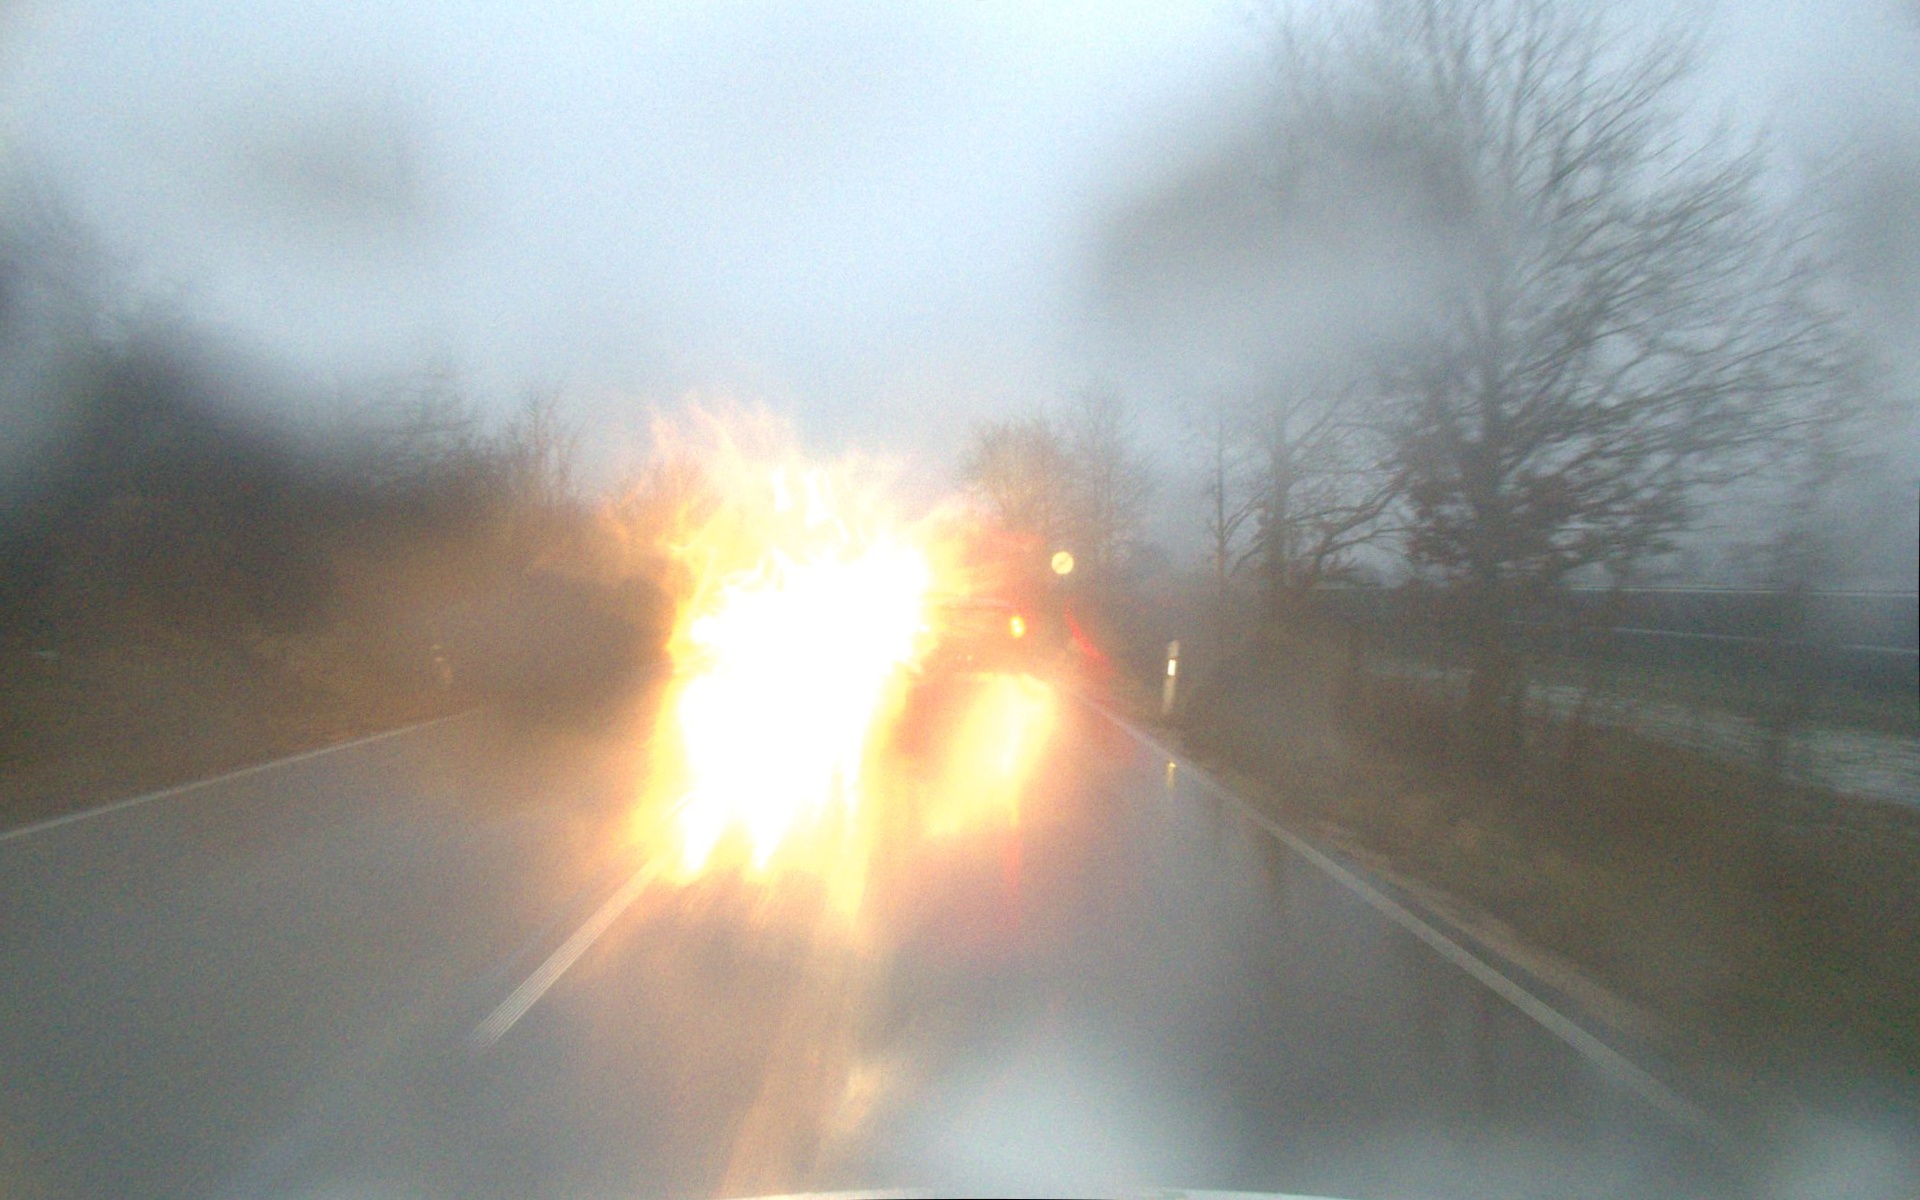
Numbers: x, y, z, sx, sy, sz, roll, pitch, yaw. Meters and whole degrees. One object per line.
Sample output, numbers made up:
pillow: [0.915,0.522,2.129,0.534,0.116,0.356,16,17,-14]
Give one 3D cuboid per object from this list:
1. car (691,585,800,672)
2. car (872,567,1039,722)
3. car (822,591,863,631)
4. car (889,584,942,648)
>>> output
car: [-4.181,0.528,32.740,1.657,1.557,4.084,1,0,-1]
car: [-0.056,0.533,21.809,1.953,1.816,4.000,1,0,0]
car: [-5.064,0.456,70.980,1.718,1.675,4.045,1,0,-5]
car: [-1.373,0.491,52.519,1.542,1.907,3.709,1,0,0]
